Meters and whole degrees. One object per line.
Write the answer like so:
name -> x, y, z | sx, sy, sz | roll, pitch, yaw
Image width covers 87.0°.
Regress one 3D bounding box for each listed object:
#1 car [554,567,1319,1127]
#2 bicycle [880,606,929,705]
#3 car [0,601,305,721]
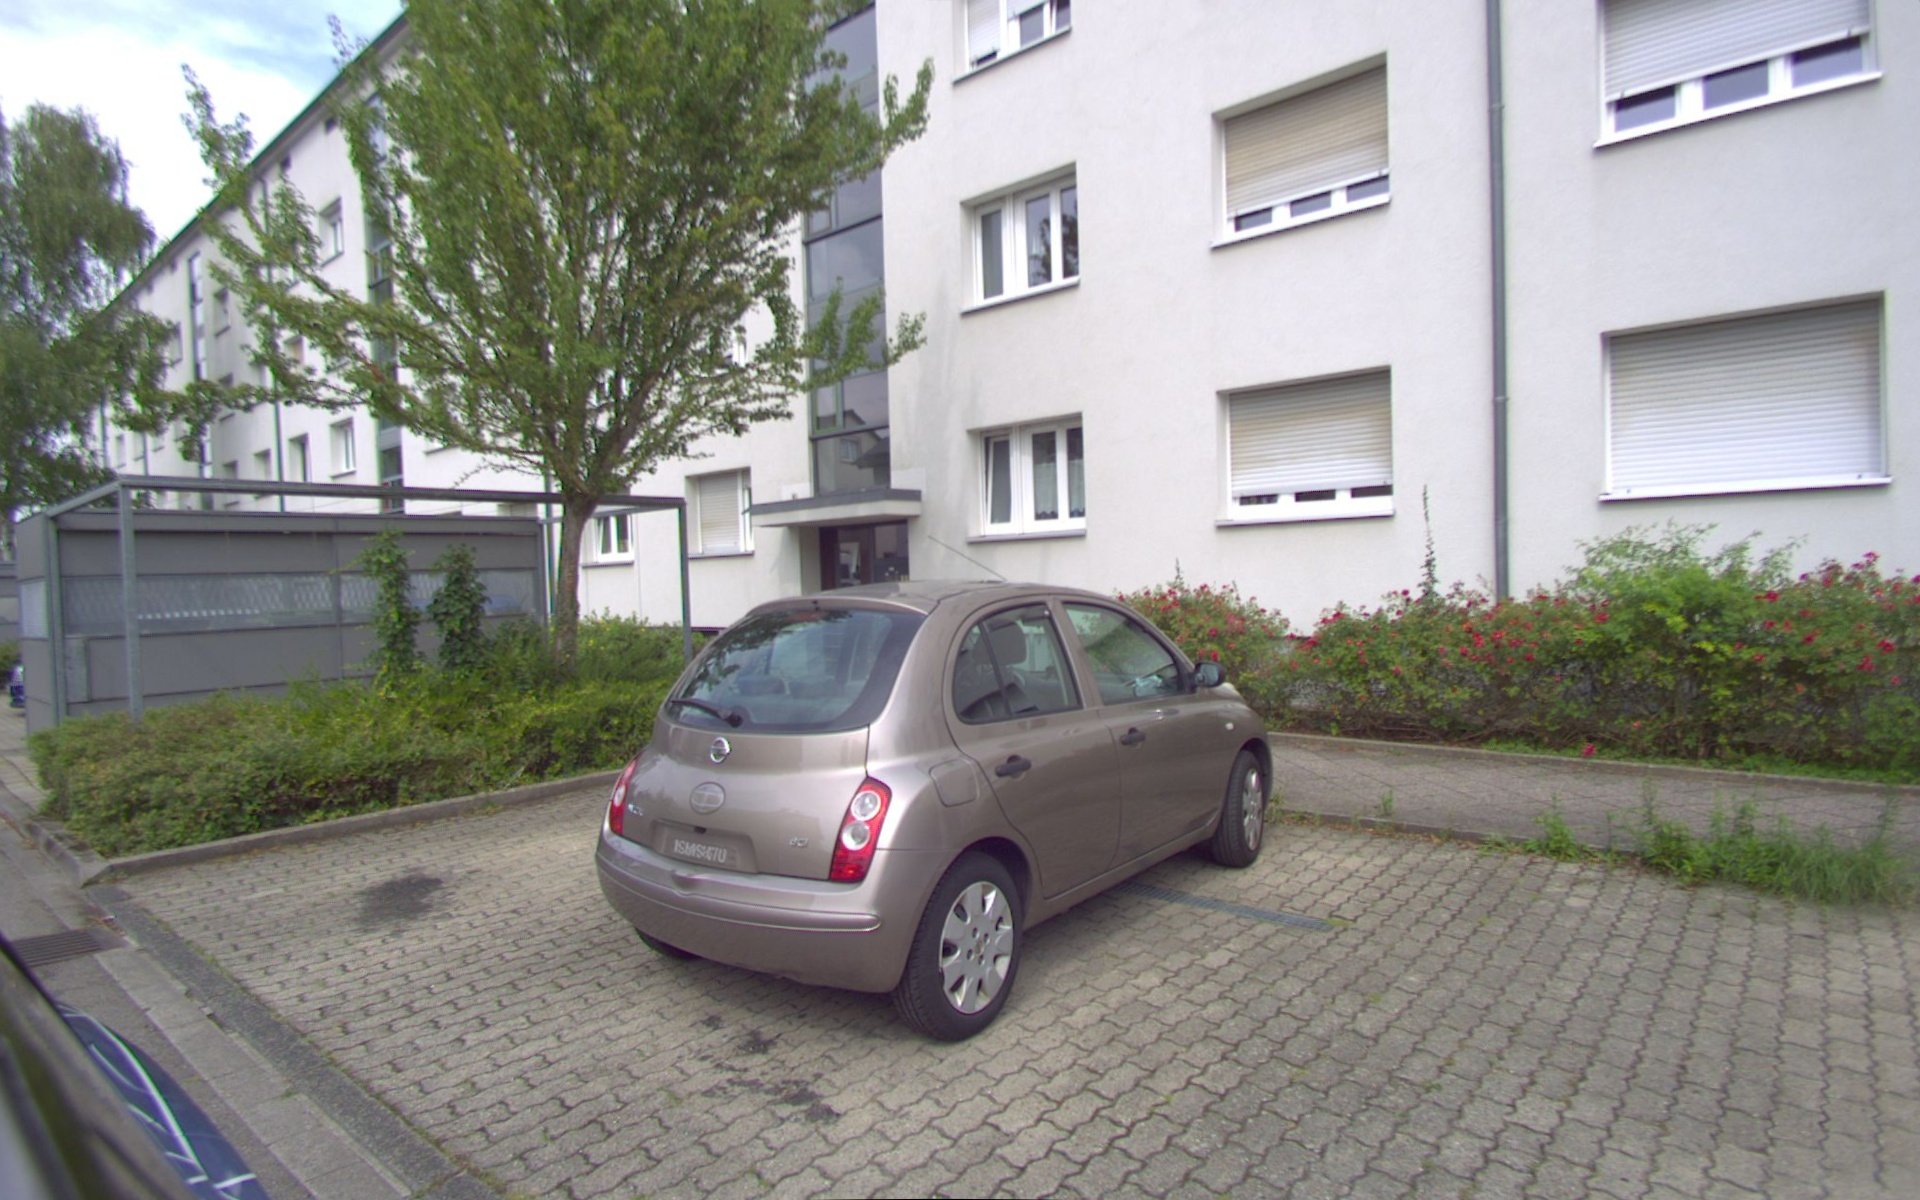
car -> 0.243, 0.640, 4.638 | 1.707, 1.492, 3.530 | -1, 0, 36
bicycle -> -0.640, 0.623, 12.108 | 0.472, 1.032, 1.811 | -2, 1, -1
car -> -12.505, 0.846, 15.712 | 1.653, 1.472, 3.595 | -1, 2, 44
